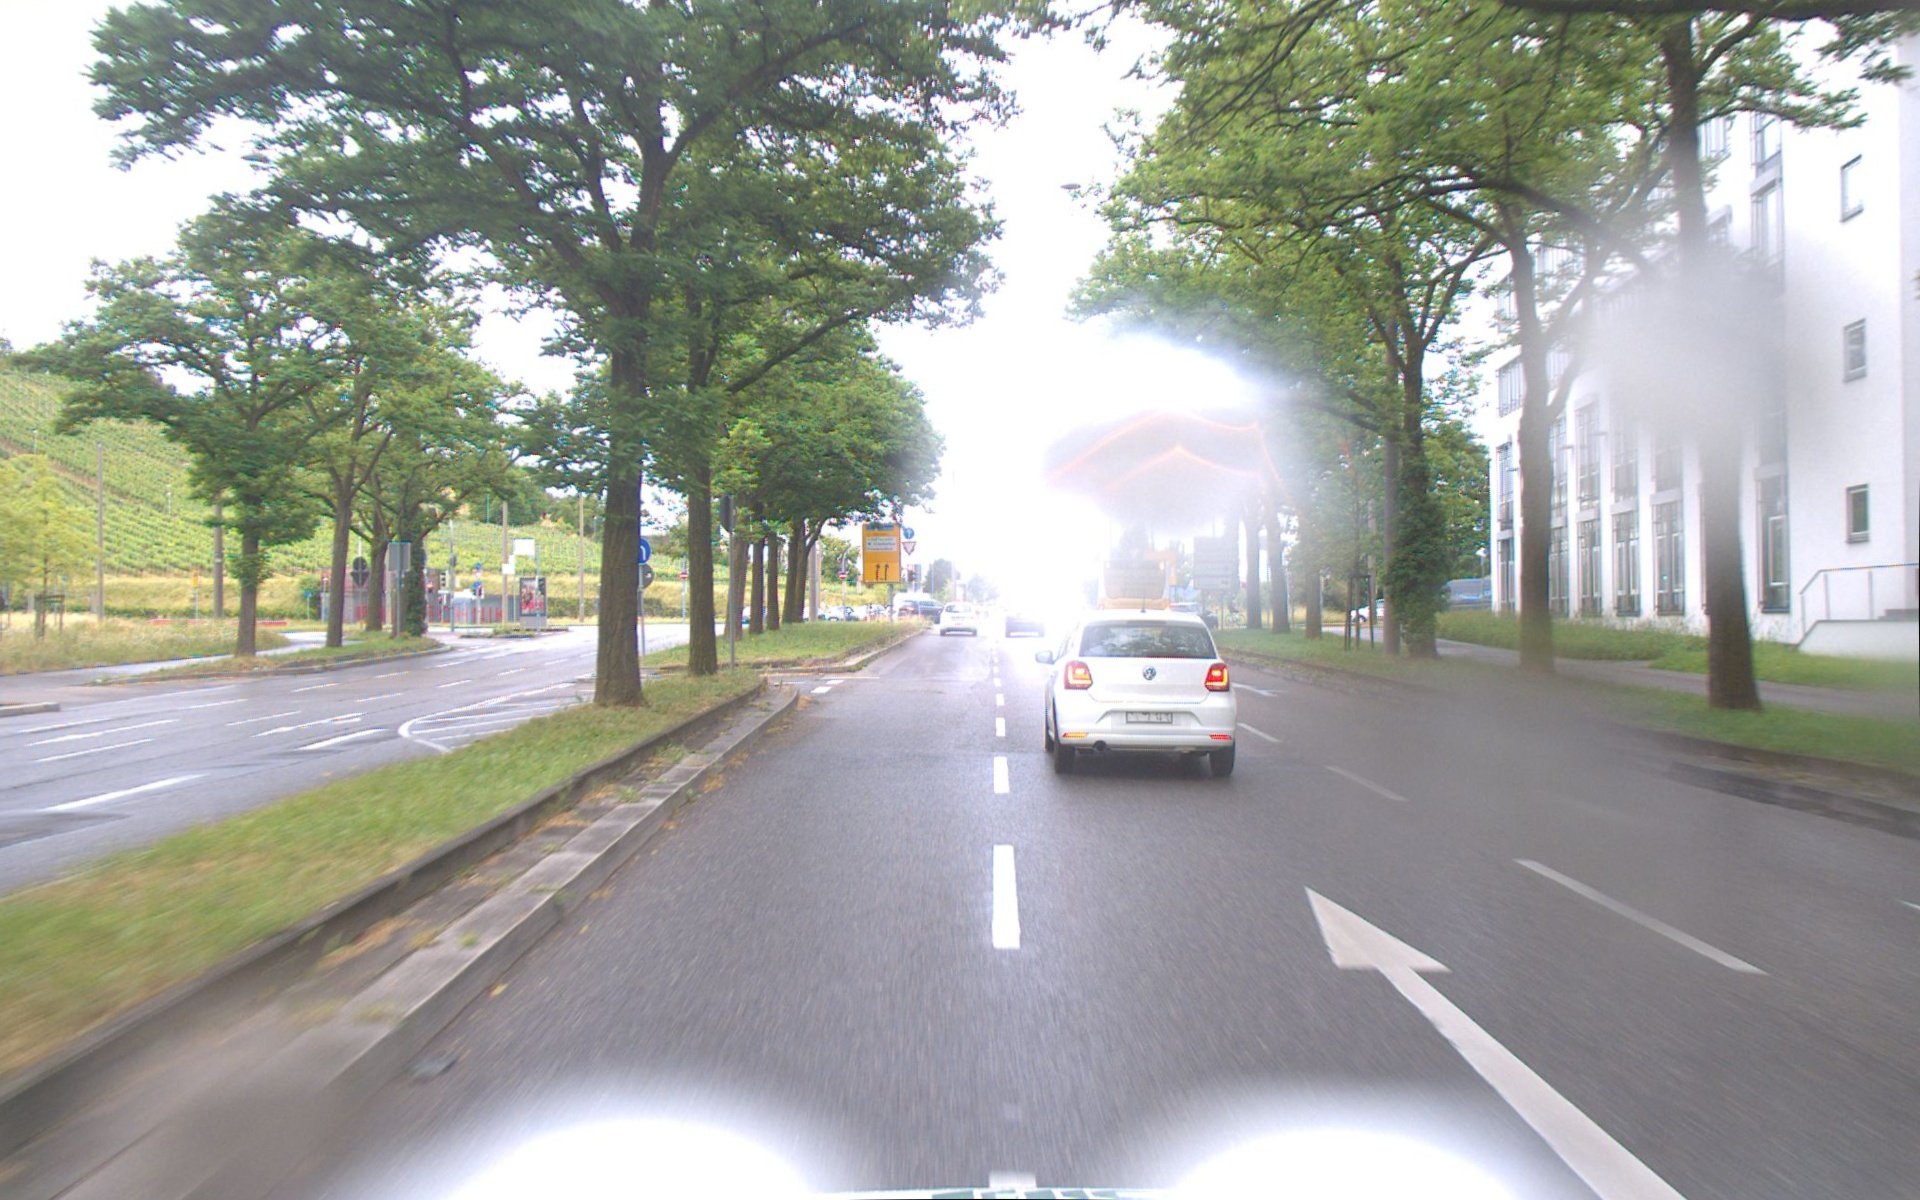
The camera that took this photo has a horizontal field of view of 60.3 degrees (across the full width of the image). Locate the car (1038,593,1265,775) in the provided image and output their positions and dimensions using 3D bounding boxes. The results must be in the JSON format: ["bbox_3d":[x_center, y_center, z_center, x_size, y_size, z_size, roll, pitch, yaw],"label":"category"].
[{"bbox_3d":[1.737,0.731,16.162,1.757,1.528,4.000,1,0,0],"label":"car"}]

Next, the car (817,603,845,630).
[{"bbox_3d":[-10.096,1.319,129.920,1.953,2.049,3.998,0,-2,-1],"label":"car"}]

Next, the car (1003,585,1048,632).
[{"bbox_3d":[2.907,0.355,73.622,1.952,2.049,4.001,0,0,2],"label":"car"}]

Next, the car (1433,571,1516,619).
[{"bbox_3d":[29.391,-0.274,94.542,4.164,2.608,1.996,-1,0,30],"label":"car"}]

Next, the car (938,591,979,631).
[{"bbox_3d":[-0.049,0.481,75.493,1.757,1.772,4.001,0,0,1],"label":"car"}]

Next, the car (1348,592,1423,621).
[{"bbox_3d":[24.234,0.374,94.171,3.906,1.563,2.000,-1,0,23],"label":"car"}]

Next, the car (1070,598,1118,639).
[{"bbox_3d":[6.024,0.860,74.741,1.952,1.747,4.001,-1,-1,2],"label":"car"}]

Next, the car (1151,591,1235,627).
[{"bbox_3d":[10.331,0.382,73.205,3.797,1.542,1.673,0,-1,-43],"label":"car"}]

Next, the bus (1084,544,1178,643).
[{"bbox_3d":[6.168,-0.235,61.081,2.769,3.324,10.003,0,0,2],"label":"bus"}]

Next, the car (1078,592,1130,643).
[{"bbox_3d":[6.026,0.735,69.713,1.952,2.049,4.001,-1,-1,2],"label":"car"}]

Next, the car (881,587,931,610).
[{"bbox_3d":[-4.941,-0.129,153.458,1.956,2.049,5.701,-1,0,29],"label":"car"}]
